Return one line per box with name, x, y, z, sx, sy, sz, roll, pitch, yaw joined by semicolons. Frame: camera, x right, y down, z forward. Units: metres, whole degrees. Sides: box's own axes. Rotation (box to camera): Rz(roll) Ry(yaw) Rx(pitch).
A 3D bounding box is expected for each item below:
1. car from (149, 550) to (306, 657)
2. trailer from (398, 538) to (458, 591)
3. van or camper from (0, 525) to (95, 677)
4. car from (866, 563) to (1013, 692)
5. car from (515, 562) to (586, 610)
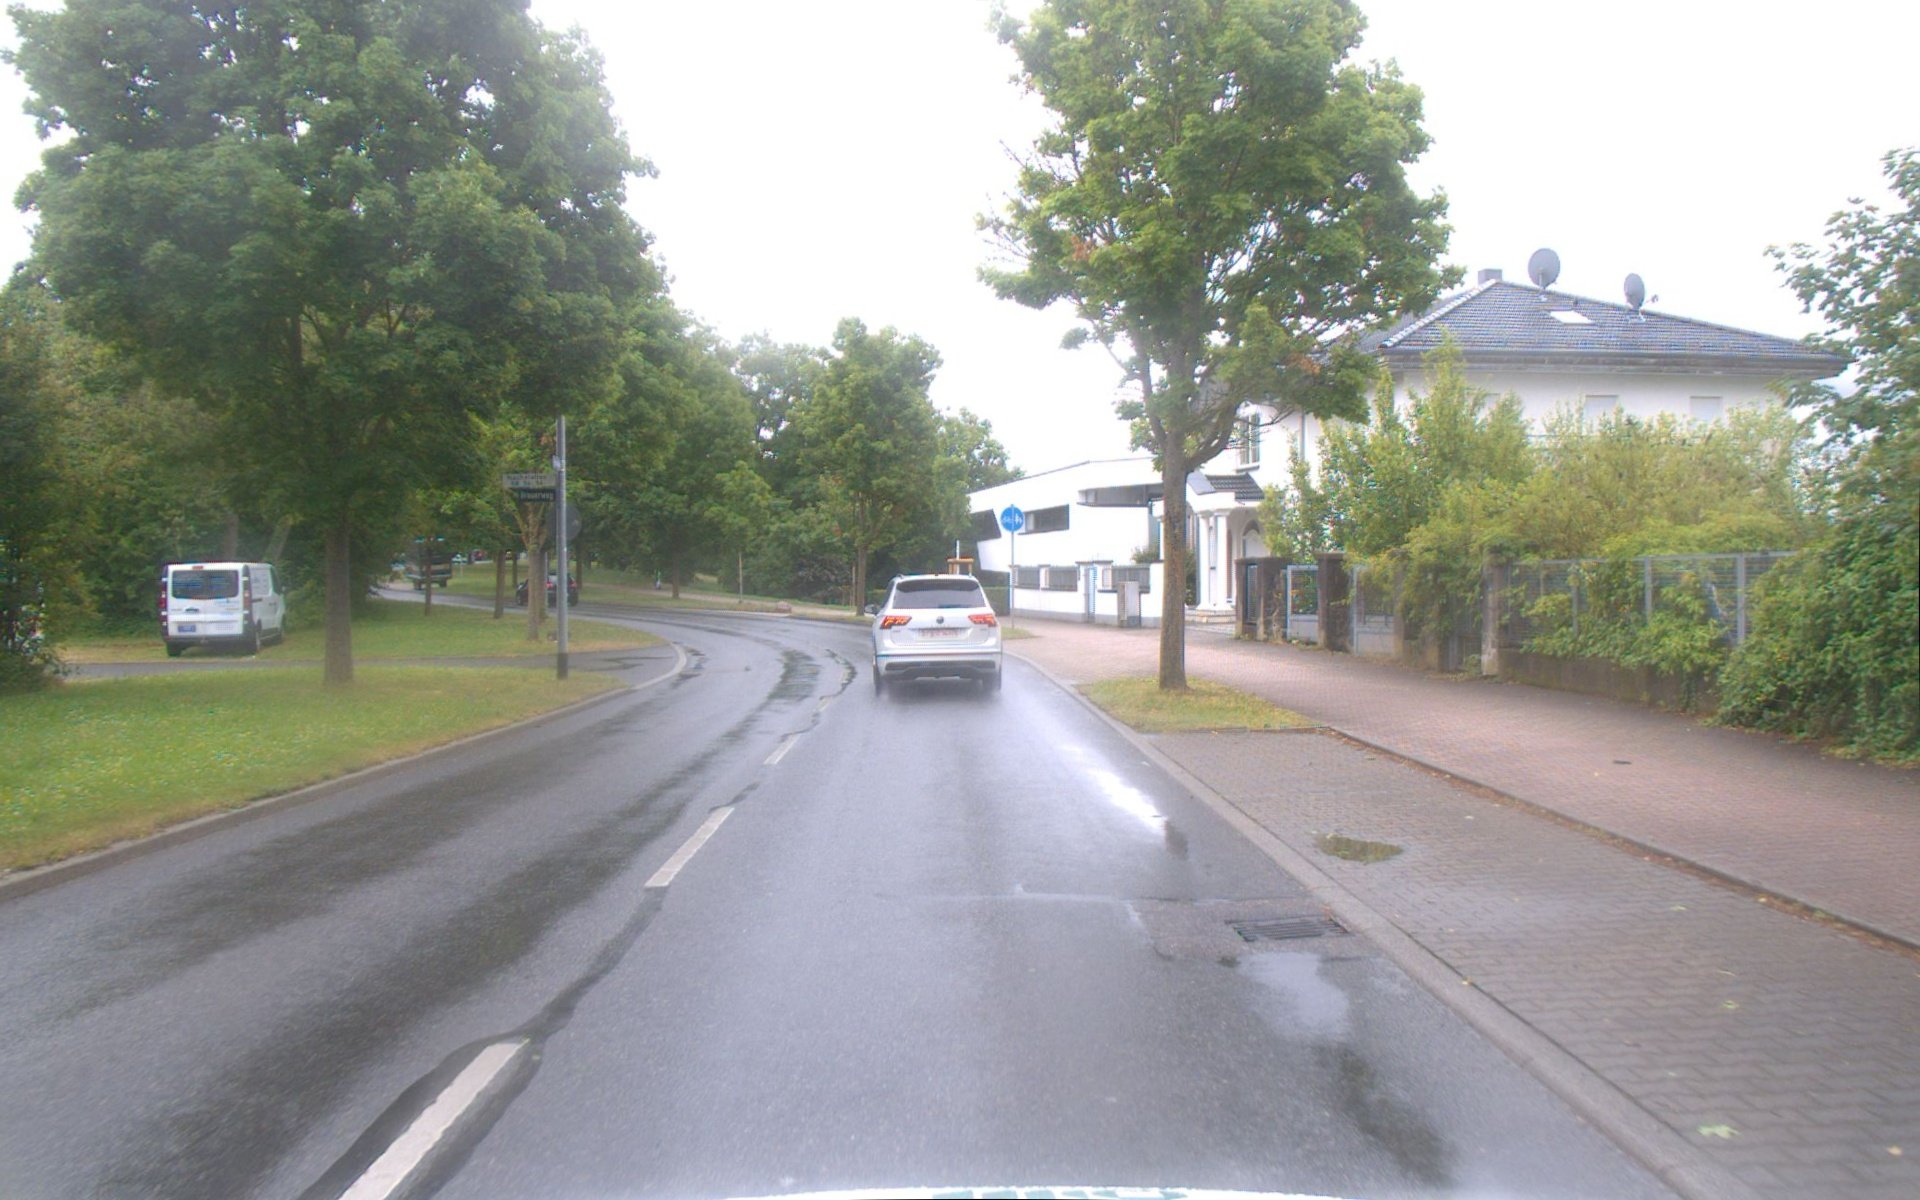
car;-16.596;-0.011;37.800;2.090;2.020;5.460;-2;4;-12
trailer;-31.608;-2.156;98.234;1.975;2.855;5.550;-7;5;-31
van or camper;-16.329;0.037;26.366;2.340;2.402;6.798;-1;1;-9
car;-0.285;0.344;24.404;1.934;1.681;4.177;-1;1;0
car;-18.315;-0.657;73.902;1.883;2.049;3.900;2;0;-33
